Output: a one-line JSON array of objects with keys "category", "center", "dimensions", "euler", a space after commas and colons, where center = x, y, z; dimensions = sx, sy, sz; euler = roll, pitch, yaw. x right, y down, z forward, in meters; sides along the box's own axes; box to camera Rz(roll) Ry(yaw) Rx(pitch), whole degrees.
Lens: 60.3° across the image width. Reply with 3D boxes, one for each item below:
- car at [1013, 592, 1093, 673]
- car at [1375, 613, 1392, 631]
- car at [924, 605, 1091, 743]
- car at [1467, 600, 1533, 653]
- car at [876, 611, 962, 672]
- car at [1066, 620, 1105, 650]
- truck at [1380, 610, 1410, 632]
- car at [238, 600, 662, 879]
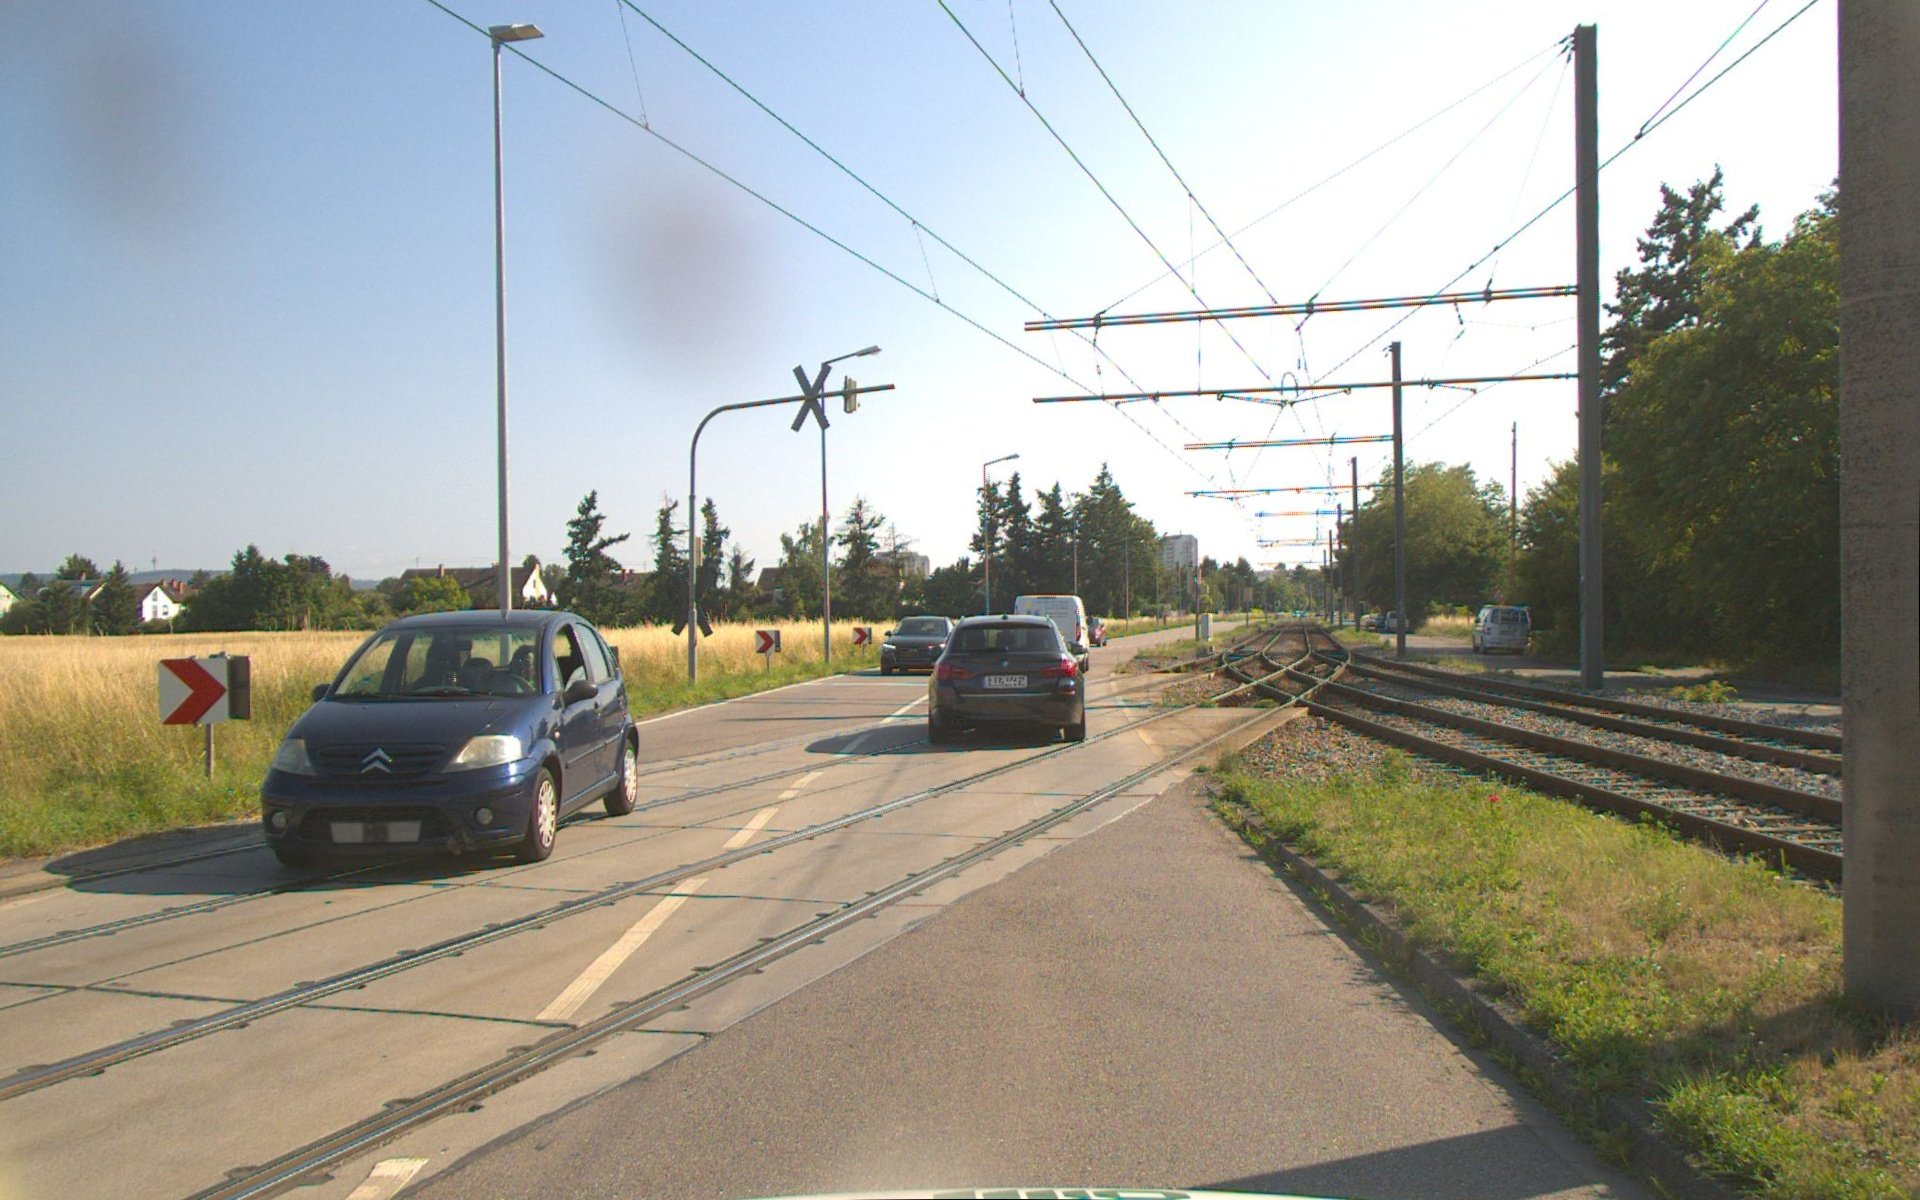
[{"category": "car", "center": [2.549, 0.828, 44.305], "dimensions": [1.818, 2.023, 5.112], "euler": [0, 0, 7]}, {"category": "car", "center": [43.575, 2.260, 170.146], "dimensions": [1.698, 1.709, 3.546], "euler": [1, -2, 14]}, {"category": "car", "center": [0.603, 0.827, 20.607], "dimensions": [1.830, 1.478, 4.745], "euler": [0, 0, 2]}, {"category": "car", "center": [22.349, 1.075, 68.631], "dimensions": [1.951, 2.039, 5.071], "euler": [2, 0, 11]}, {"category": "car", "center": [-1.019, 1.040, 42.883], "dimensions": [1.657, 1.465, 4.286], "euler": [0, 0, 6]}, {"category": "car", "center": [6.792, 1.859, 89.254], "dimensions": [1.676, 1.576, 3.931], "euler": [0, 0, 10]}, {"category": "truck", "center": [37.485, 1.798, 142.674], "dimensions": [2.157, 1.851, 5.934], "euler": [0, -1, 11]}, {"category": "car", "center": [-3.213, 0.806, 11.242], "dimensions": [1.590, 1.520, 4.000], "euler": [-1, -1, 0]}]
